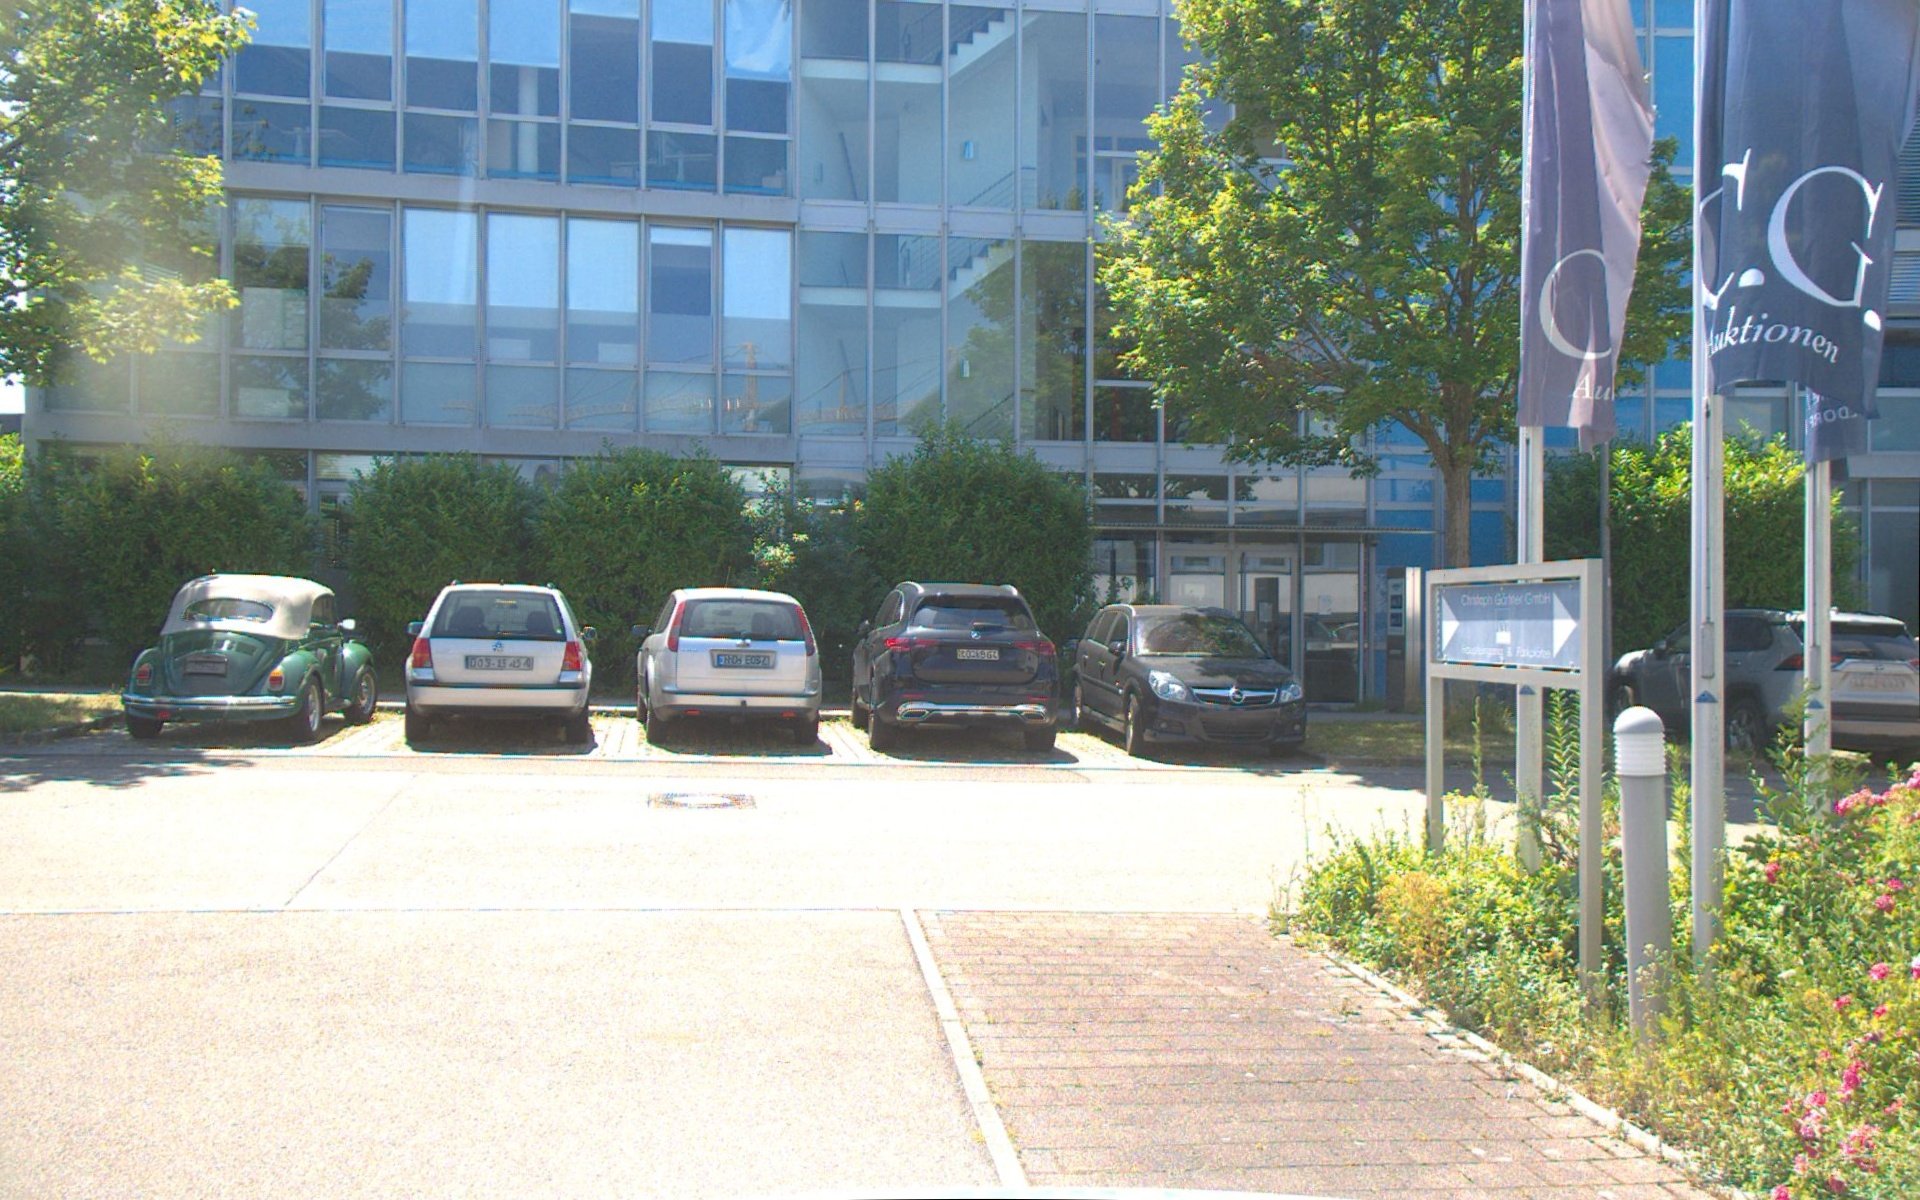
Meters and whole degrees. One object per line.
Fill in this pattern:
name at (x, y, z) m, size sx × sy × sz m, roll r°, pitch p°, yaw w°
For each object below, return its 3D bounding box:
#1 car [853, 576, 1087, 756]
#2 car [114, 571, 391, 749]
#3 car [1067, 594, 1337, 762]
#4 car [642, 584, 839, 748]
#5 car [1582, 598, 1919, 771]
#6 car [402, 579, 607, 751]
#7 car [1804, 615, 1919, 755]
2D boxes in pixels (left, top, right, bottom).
car at (-0.020, 0.594, 17.483) m, size 1.891 × 1.639 × 3.980 m, roll 2°, pitch 1°, yaw -8°
car at (-6.632, 0.492, 15.883) m, size 1.513 × 1.474 × 3.647 m, roll 2°, pitch 1°, yaw -8°
car at (2.419, 0.729, 17.635) m, size 1.736 × 1.507 × 4.251 m, roll 1°, pitch 1°, yaw -8°
car at (-2.396, 0.618, 17.343) m, size 1.734 × 1.474 × 3.643 m, roll 2°, pitch 1°, yaw -12°
car at (8.966, 0.847, 18.674) m, size 1.785 × 1.648 × 4.332 m, roll 1°, pitch 1°, yaw -8°
car at (-4.408, 0.566, 16.449) m, size 1.701 × 1.474 × 3.643 m, roll 2°, pitch 1°, yaw -12°
car at (11.619, 1.008, 18.472) m, size 1.703 × 1.517 × 4.332 m, roll 2°, pitch 1°, yaw -8°
